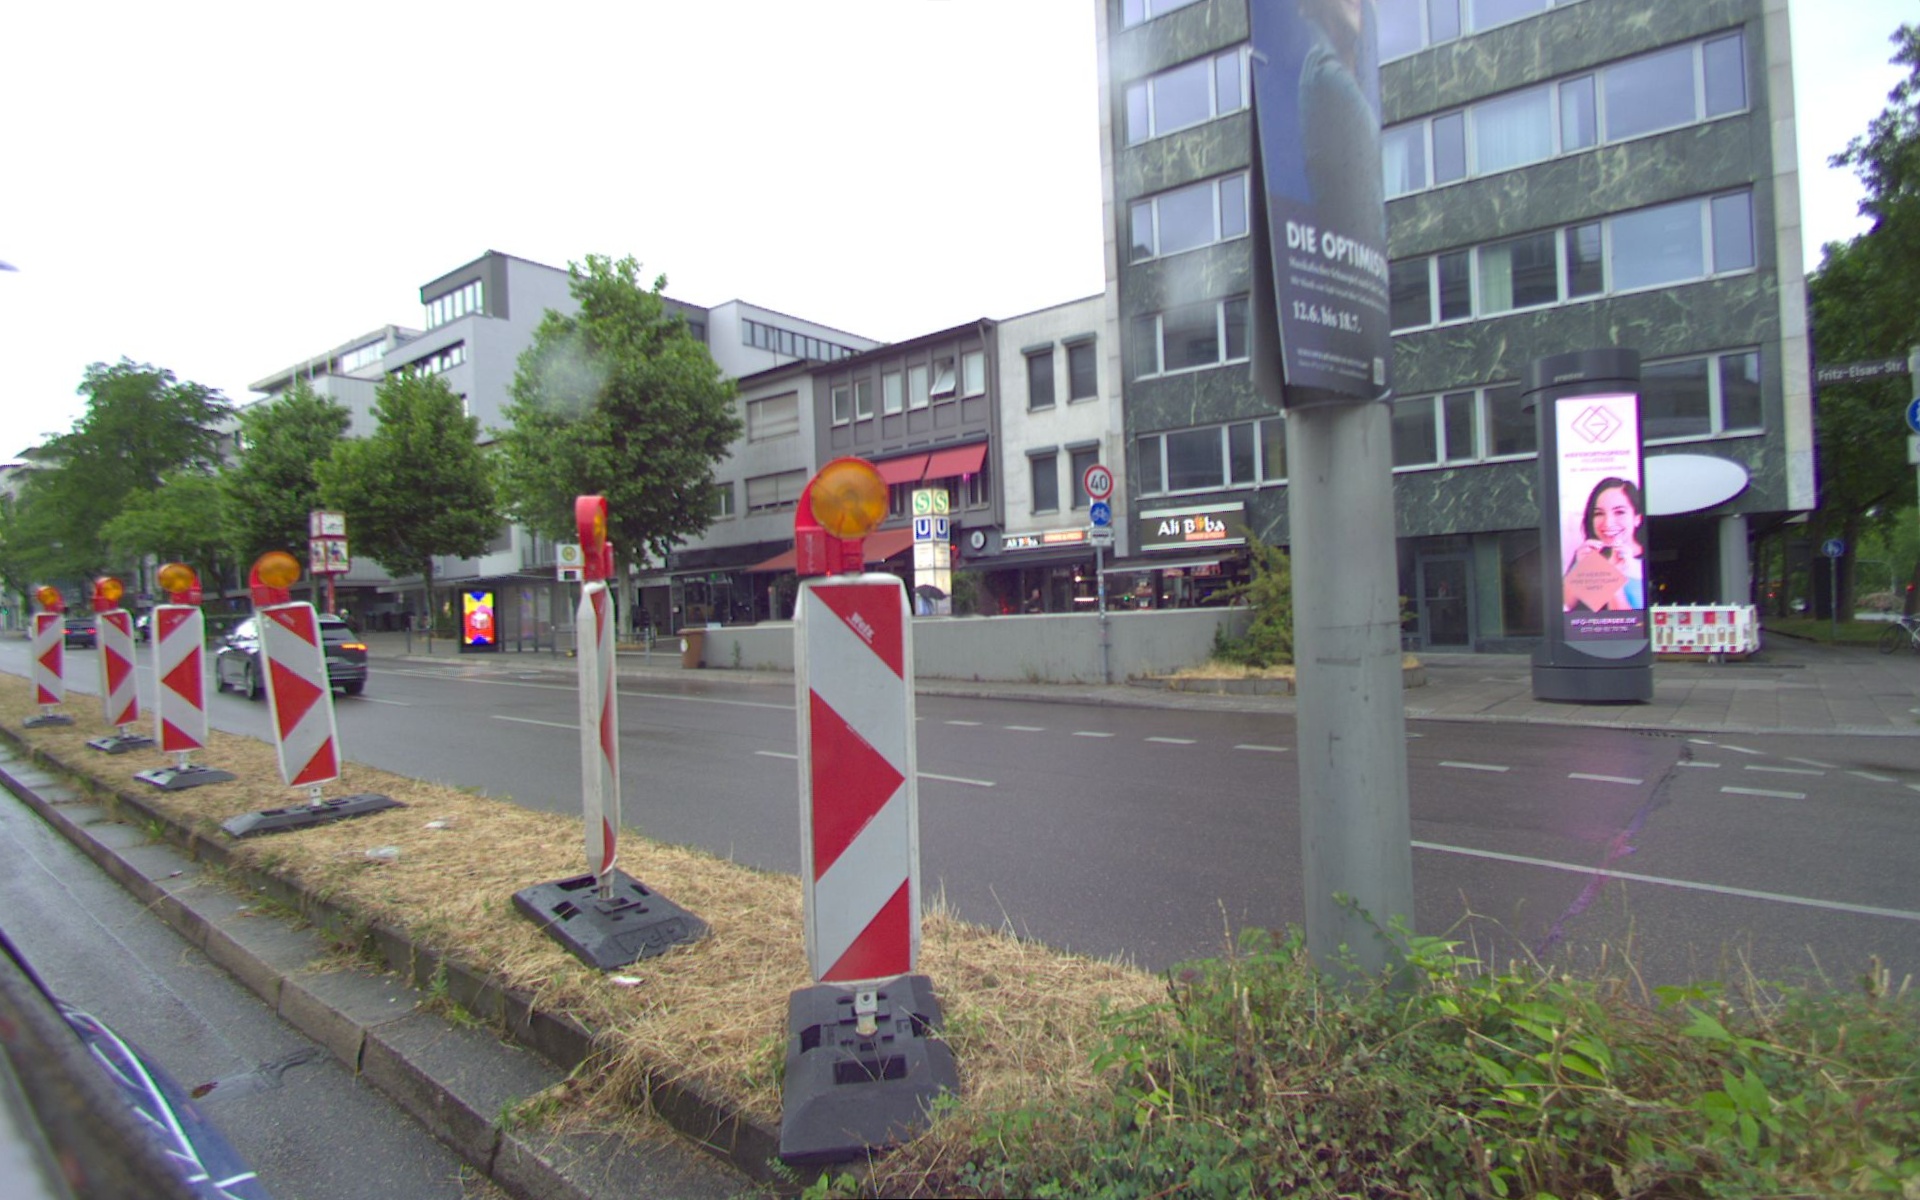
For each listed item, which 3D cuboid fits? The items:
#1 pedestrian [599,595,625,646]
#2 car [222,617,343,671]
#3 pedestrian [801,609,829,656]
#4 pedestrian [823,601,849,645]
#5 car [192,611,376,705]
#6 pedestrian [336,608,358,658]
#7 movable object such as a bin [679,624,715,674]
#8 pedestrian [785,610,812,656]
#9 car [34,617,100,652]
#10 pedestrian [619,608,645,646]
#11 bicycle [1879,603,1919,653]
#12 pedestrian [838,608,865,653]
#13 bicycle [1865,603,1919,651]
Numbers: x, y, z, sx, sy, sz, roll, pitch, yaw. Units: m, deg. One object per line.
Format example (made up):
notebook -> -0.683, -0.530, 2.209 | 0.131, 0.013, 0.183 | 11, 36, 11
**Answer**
pedestrian -> -14.323, 0.835, 41.660 | 0.764, 2.029, 0.768 | -1, 0, -41
car -> -19.749, 1.252, 29.431 | 4.207, 1.442, 1.672 | -2, -1, 37
pedestrian -> -4.823, 1.063, 33.607 | 0.611, 1.540, 0.660 | -2, -1, 44
pedestrian -> -4.350, 0.800, 35.483 | 0.611, 1.540, 0.660 | -2, -1, 44
car -> -12.499, 1.004, 18.622 | 4.287, 1.522, 1.670 | -2, -1, 40
pedestrian -> -22.944, 1.243, 37.869 | 0.567, 1.839, 0.581 | -1, 0, -43
movable object such as a bin -> -6.102, 1.127, 23.448 | 0.660, 1.109, 0.501 | -1, 0, 39
pedestrian -> -5.468, 1.112, 34.332 | 0.611, 1.540, 0.660 | -2, -1, 44
car -> -42.600, 1.618, 48.244 | 4.415, 1.566, 1.671 | -1, 0, 39
pedestrian -> -13.680, 1.120, 42.196 | 0.764, 1.577, 0.768 | -1, 0, -41
bicycle -> 20.767, 0.595, 21.479 | 1.780, 1.060, 0.579 | -1, -1, 37
pedestrian -> -3.756, 1.039, 35.013 | 0.611, 1.540, 0.660 | -2, -1, 44
bicycle -> 21.262, 0.590, 22.387 | 1.780, 1.060, 0.579 | -1, -1, 37
